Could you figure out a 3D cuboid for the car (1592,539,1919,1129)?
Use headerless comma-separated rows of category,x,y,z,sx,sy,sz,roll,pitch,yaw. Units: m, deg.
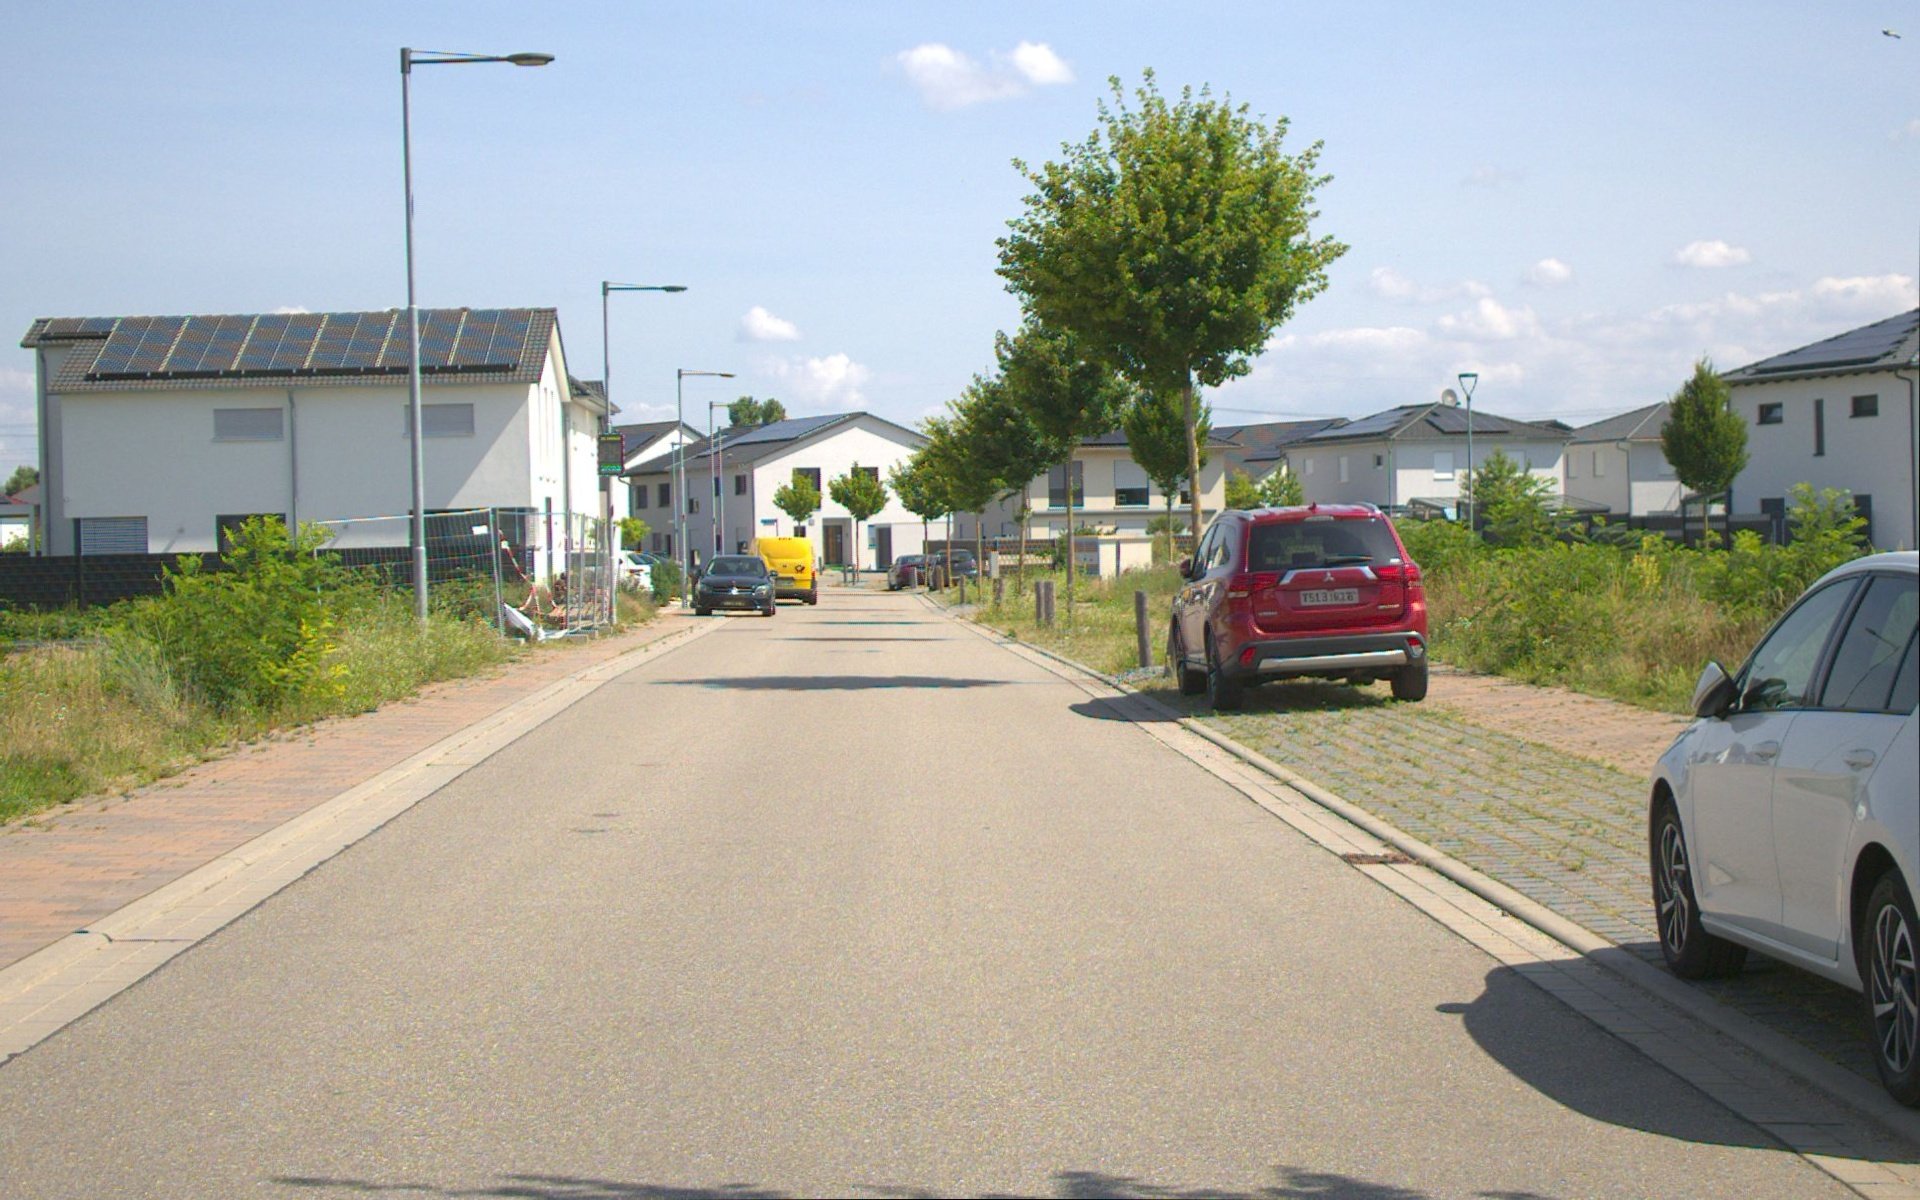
car,3.250,0.554,10.318,1.775,1.415,4.166,-3,1,-1

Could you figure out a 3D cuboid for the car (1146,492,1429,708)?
car,2.752,-0.053,29.830,1.777,1.657,4.434,-3,1,-2

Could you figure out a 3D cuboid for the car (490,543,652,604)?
car,-10.395,-0.718,92.020,4.069,1.576,1.784,0,2,4

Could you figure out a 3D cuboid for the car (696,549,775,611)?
car,-5.300,-0.498,81.610,1.745,1.400,4.160,1,1,-2

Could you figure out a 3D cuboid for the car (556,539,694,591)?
car,-10.960,-1.146,112.387,4.159,1.499,1.816,3,0,-17

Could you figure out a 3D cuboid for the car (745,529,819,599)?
car,-5.295,-1.045,101.784,1.941,1.975,4.218,-1,0,-6

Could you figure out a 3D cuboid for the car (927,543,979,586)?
car,-0.271,-1.261,121.981,1.639,1.398,3.811,-1,-1,-3

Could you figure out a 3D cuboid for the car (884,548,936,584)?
car,-2.062,-1.371,140.560,1.627,1.318,3.834,-1,-1,-8
